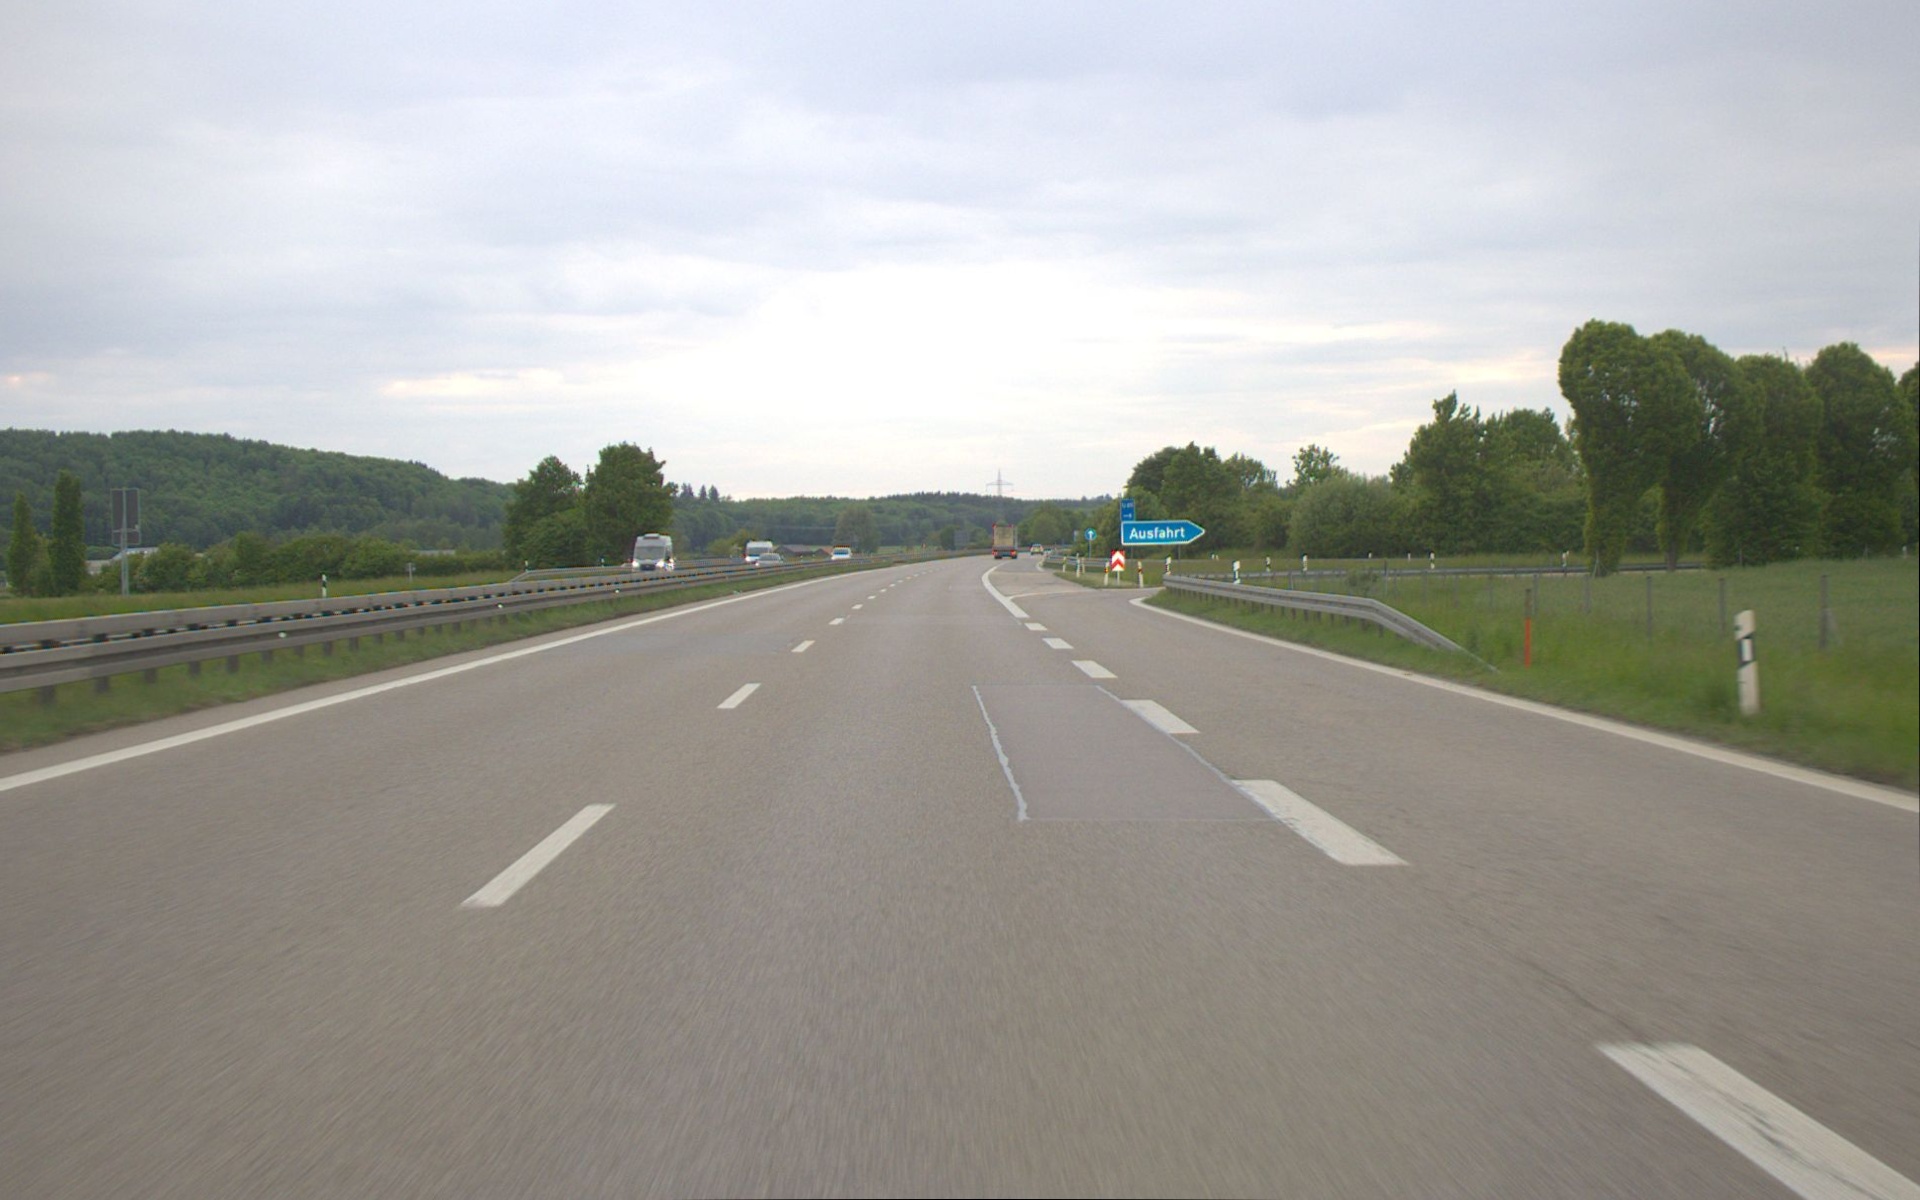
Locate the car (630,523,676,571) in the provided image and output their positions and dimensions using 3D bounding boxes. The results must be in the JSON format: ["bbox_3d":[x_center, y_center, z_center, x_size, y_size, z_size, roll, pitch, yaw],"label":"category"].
[{"bbox_3d":[-18.131,-3.138,203.201,2.106,2.791,6.427,0,1,0],"label":"car"}]
